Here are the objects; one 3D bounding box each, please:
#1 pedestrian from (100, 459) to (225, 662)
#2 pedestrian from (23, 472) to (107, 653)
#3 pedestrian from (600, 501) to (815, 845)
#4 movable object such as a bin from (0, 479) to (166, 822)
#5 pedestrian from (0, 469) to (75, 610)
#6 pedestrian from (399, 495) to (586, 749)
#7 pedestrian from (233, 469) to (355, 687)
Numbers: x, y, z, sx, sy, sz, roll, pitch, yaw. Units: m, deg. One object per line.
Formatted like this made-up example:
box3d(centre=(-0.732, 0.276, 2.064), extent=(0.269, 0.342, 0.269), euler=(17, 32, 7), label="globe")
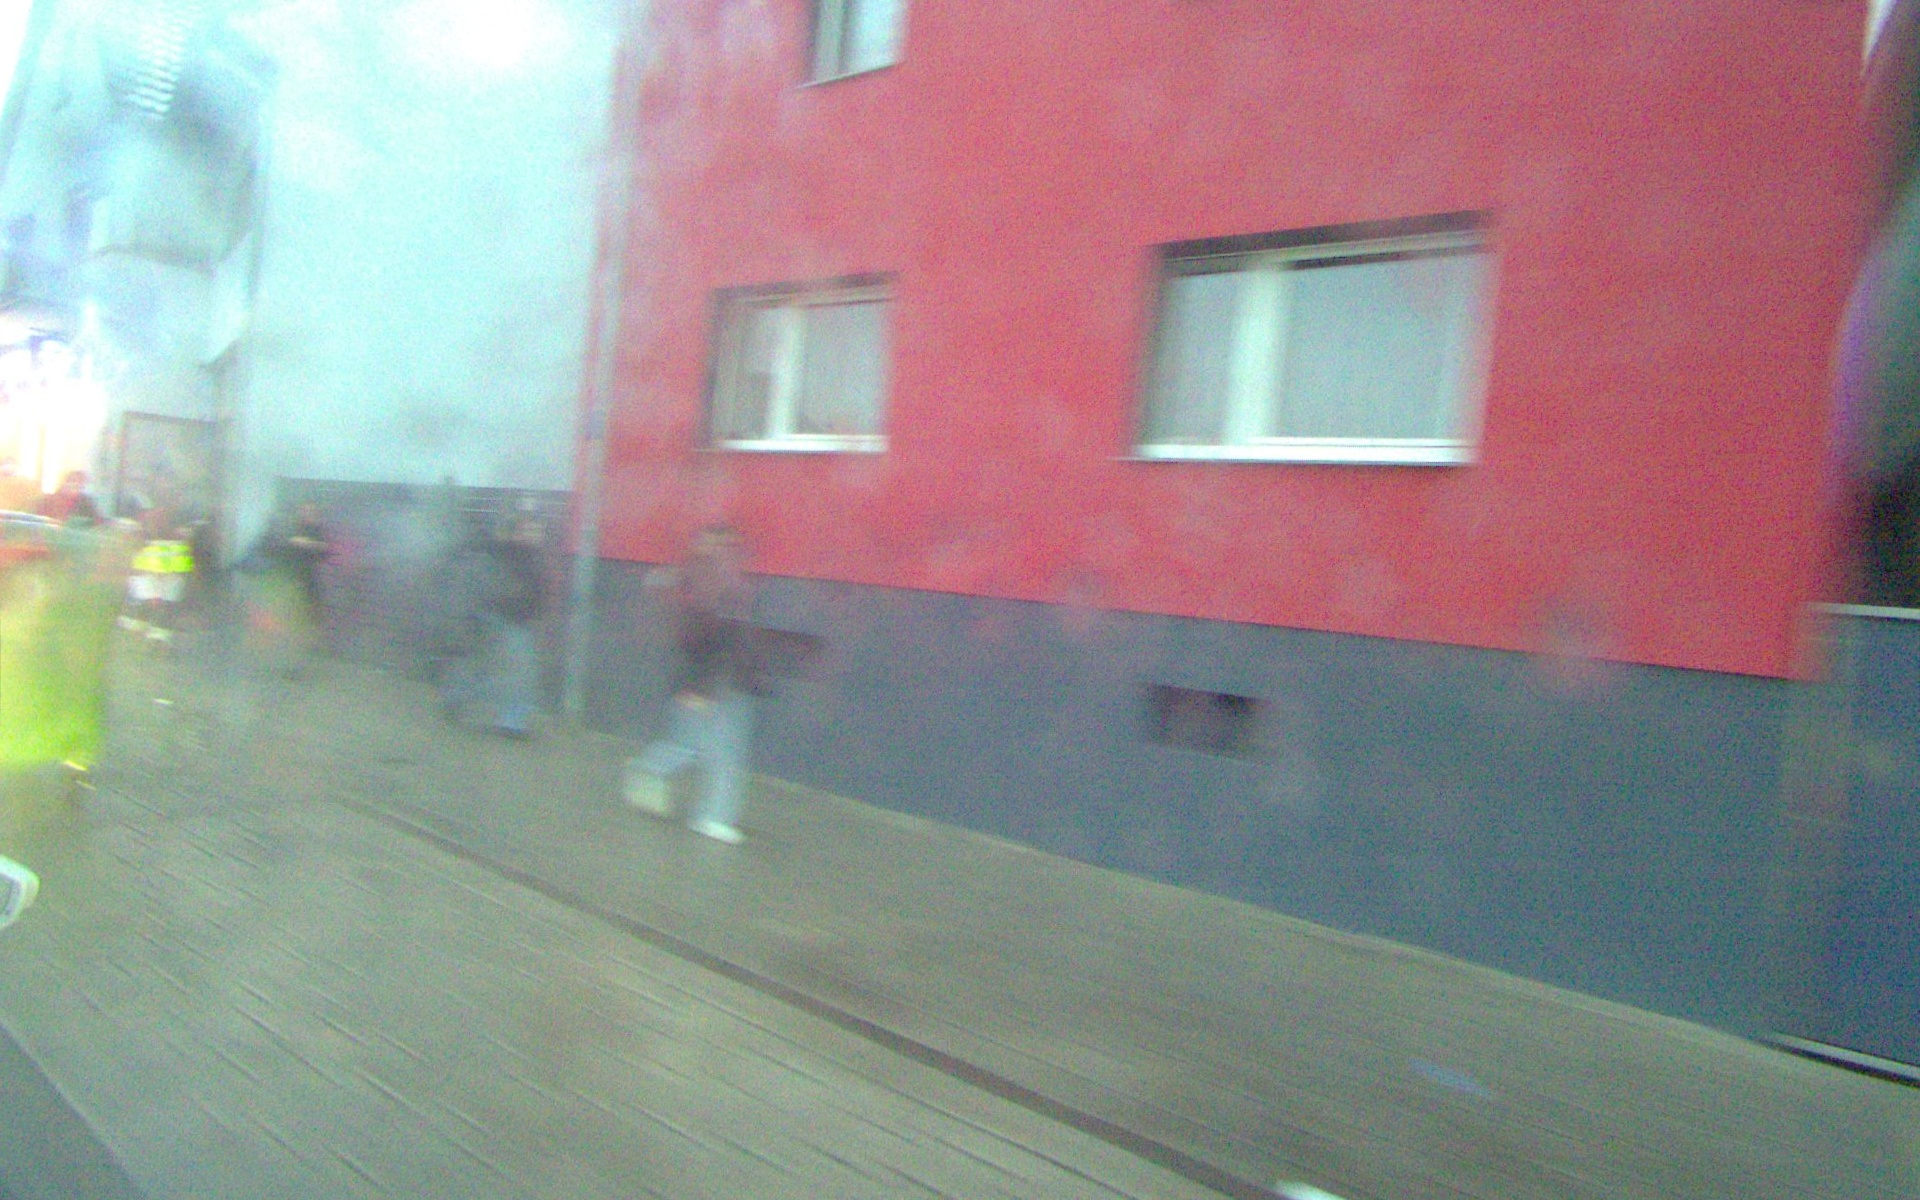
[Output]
box3d(centre=(-7.391, -0.365, 9.310), extent=(0.710, 1.737, 1.021), euler=(5, 2, -44), label="pedestrian")
box3d(centre=(-8.715, -0.382, 9.786), extent=(0.478, 1.651, 1.006), euler=(5, 2, -44), label="pedestrian")
box3d(centre=(-1.364, 0.360, 5.386), extent=(0.941, 1.671, 0.528), euler=(4, -3, 43), label="pedestrian")
box3d(centre=(-4.620, 0.156, 4.620), extent=(1.395, 1.440, 1.128), euler=(8, 4, 35), label="movable object such as a bin")
box3d(centre=(-11.788, -0.774, 12.546), extent=(0.889, 1.646, 0.620), euler=(8, 1, 19), label="pedestrian")
box3d(centre=(-3.464, 0.144, 7.437), extent=(1.036, 1.700, 0.746), euler=(8, 2, 39), label="pedestrian")
box3d(centre=(-5.923, -0.204, 8.943), extent=(0.852, 1.822, 0.528), euler=(7, 0, 43), label="pedestrian")
